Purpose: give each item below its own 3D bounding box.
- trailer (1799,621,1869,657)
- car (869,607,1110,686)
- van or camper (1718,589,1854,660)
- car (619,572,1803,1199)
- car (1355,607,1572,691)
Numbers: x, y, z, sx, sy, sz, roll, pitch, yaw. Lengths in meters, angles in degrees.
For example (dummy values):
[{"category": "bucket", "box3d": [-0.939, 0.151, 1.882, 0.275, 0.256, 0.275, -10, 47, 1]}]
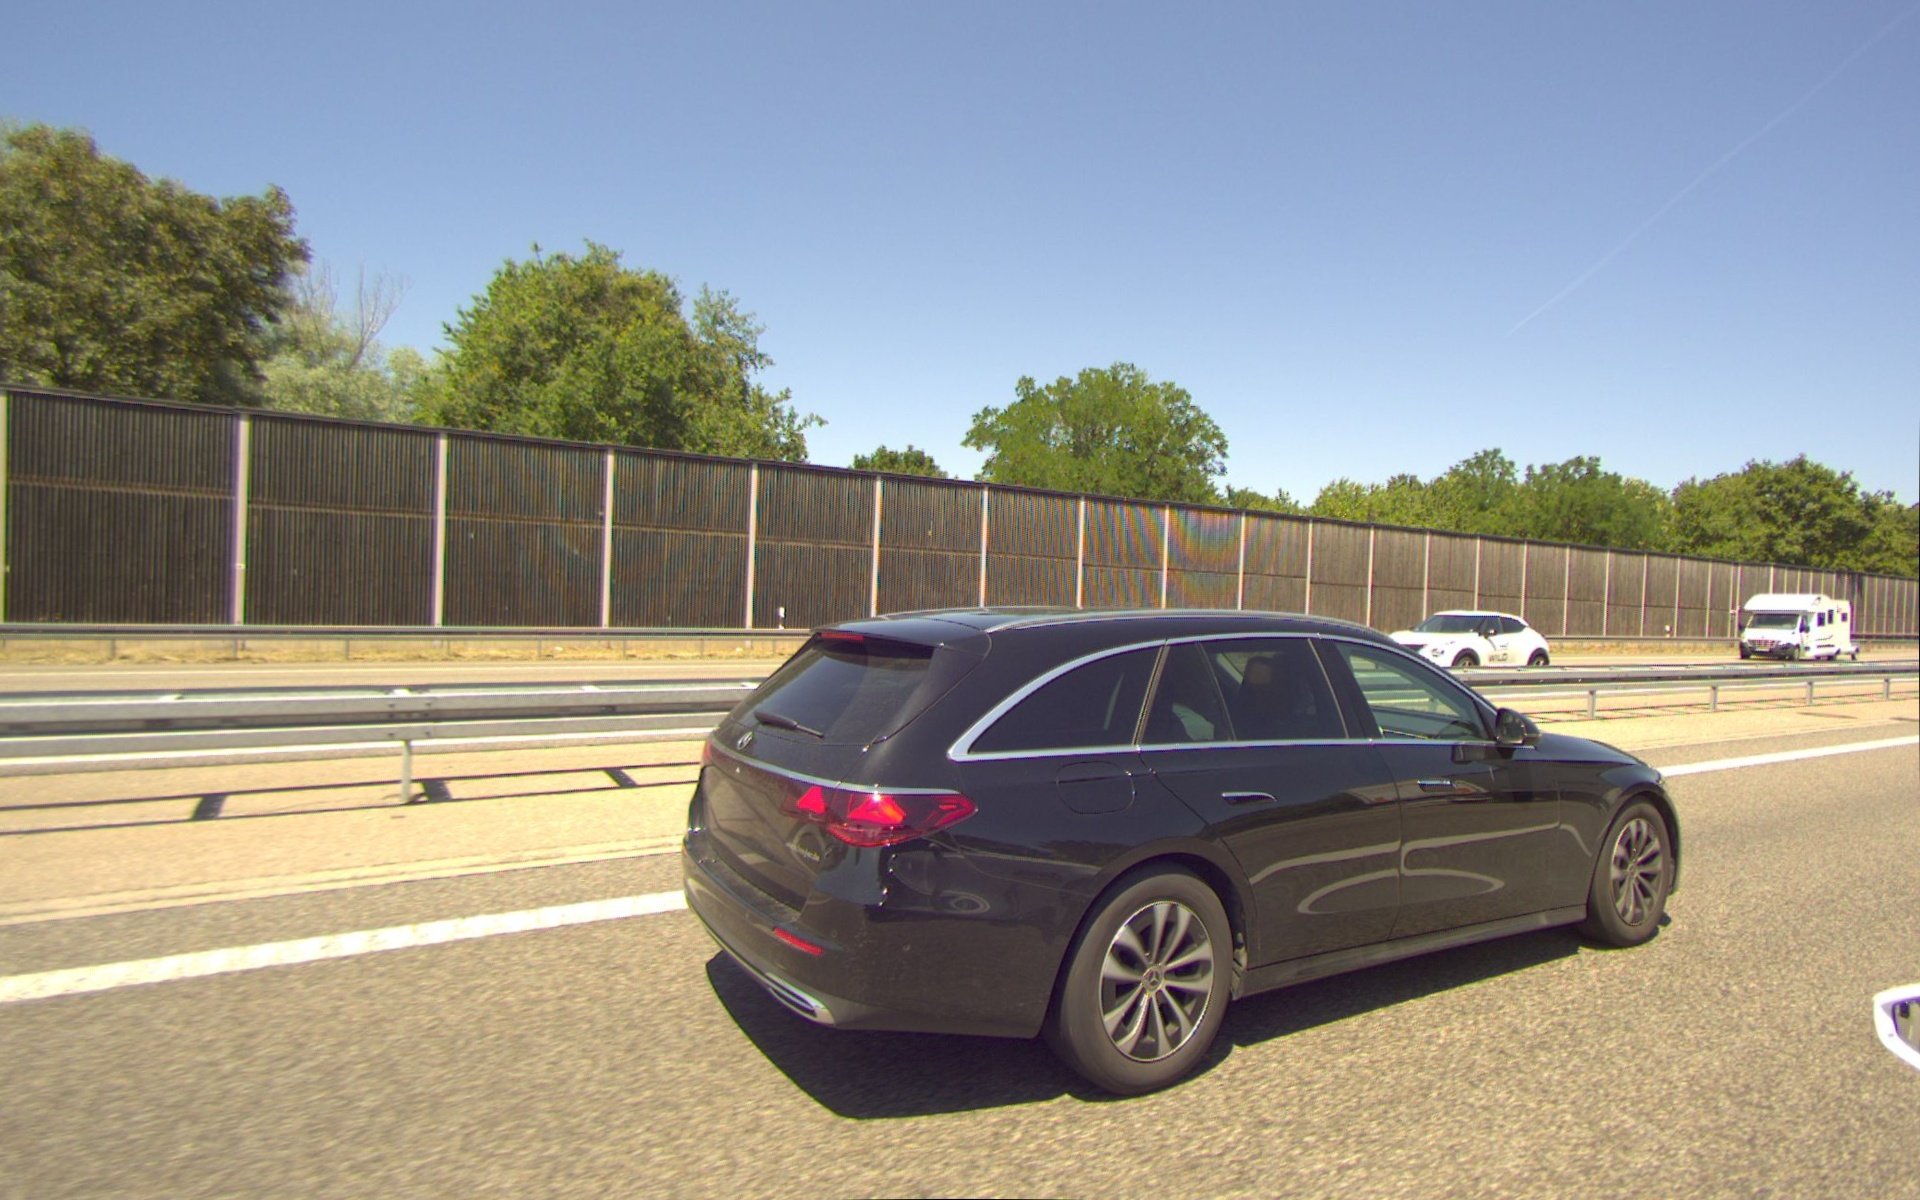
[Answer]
[{"category": "trailer", "box3d": [41.987, 1.881, 48.264, 3.058, 1.600, 1.717, 1, 1, -32]}, {"category": "car", "box3d": [0.634, 0.895, 20.083, 4.530, 1.393, 1.909, 1, 0, -31]}, {"category": "van or camper", "box3d": [37.551, 1.105, 45.590, 7.294, 2.953, 2.543, 1, 1, -32]}, {"category": "car", "box3d": [1.581, 0.755, 4.719, 5.755, 1.526, 1.933, 1, 0, -32]}, {"category": "car", "box3d": [10.564, 0.980, 20.997, 4.528, 1.567, 1.910, 1, 0, -30]}]
